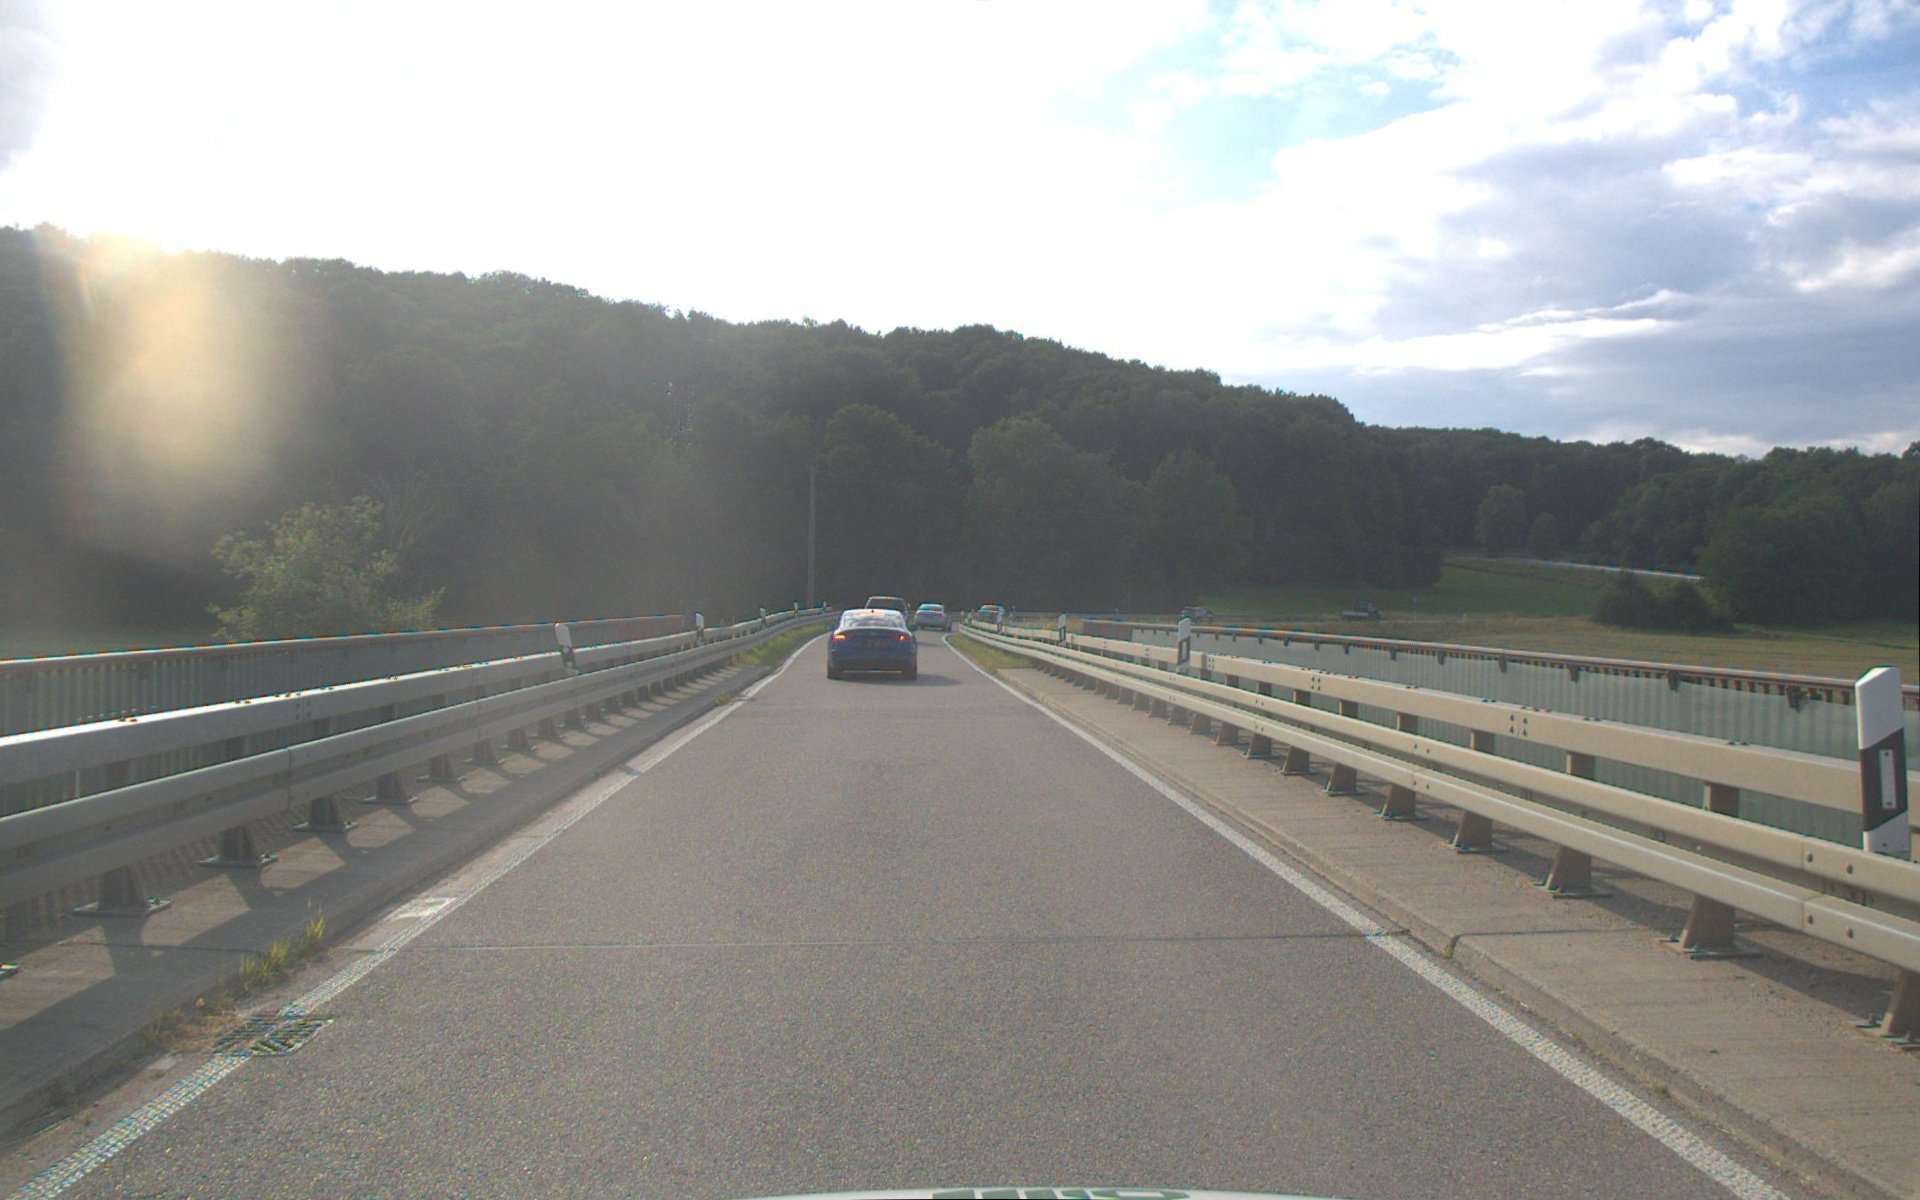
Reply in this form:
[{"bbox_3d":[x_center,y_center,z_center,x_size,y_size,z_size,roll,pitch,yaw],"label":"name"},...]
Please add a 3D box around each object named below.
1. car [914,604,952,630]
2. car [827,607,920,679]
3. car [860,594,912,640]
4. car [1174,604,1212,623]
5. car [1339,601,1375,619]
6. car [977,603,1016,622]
[{"bbox_3d":[-1.506,0.935,92.961,1.647,1.400,4.002,1,-1,5],"label":"car"},{"bbox_3d":[-1.824,0.853,34.106,1.783,1.362,4.346,-1,-1,-4],"label":"car"},{"bbox_3d":[-2.715,0.629,61.191,1.824,1.596,3.998,2,0,-2],"label":"car"},{"bbox_3d":[23.098,1.384,164.006,1.960,1.708,4.162,2,-1,35],"label":"car"},{"bbox_3d":[45.514,1.199,189.584,3.962,1.803,1.971,5,-3,-40],"label":"car"},{"bbox_3d":[2.574,0.886,116.007,1.442,1.248,3.296,1,-1,26],"label":"car"}]
